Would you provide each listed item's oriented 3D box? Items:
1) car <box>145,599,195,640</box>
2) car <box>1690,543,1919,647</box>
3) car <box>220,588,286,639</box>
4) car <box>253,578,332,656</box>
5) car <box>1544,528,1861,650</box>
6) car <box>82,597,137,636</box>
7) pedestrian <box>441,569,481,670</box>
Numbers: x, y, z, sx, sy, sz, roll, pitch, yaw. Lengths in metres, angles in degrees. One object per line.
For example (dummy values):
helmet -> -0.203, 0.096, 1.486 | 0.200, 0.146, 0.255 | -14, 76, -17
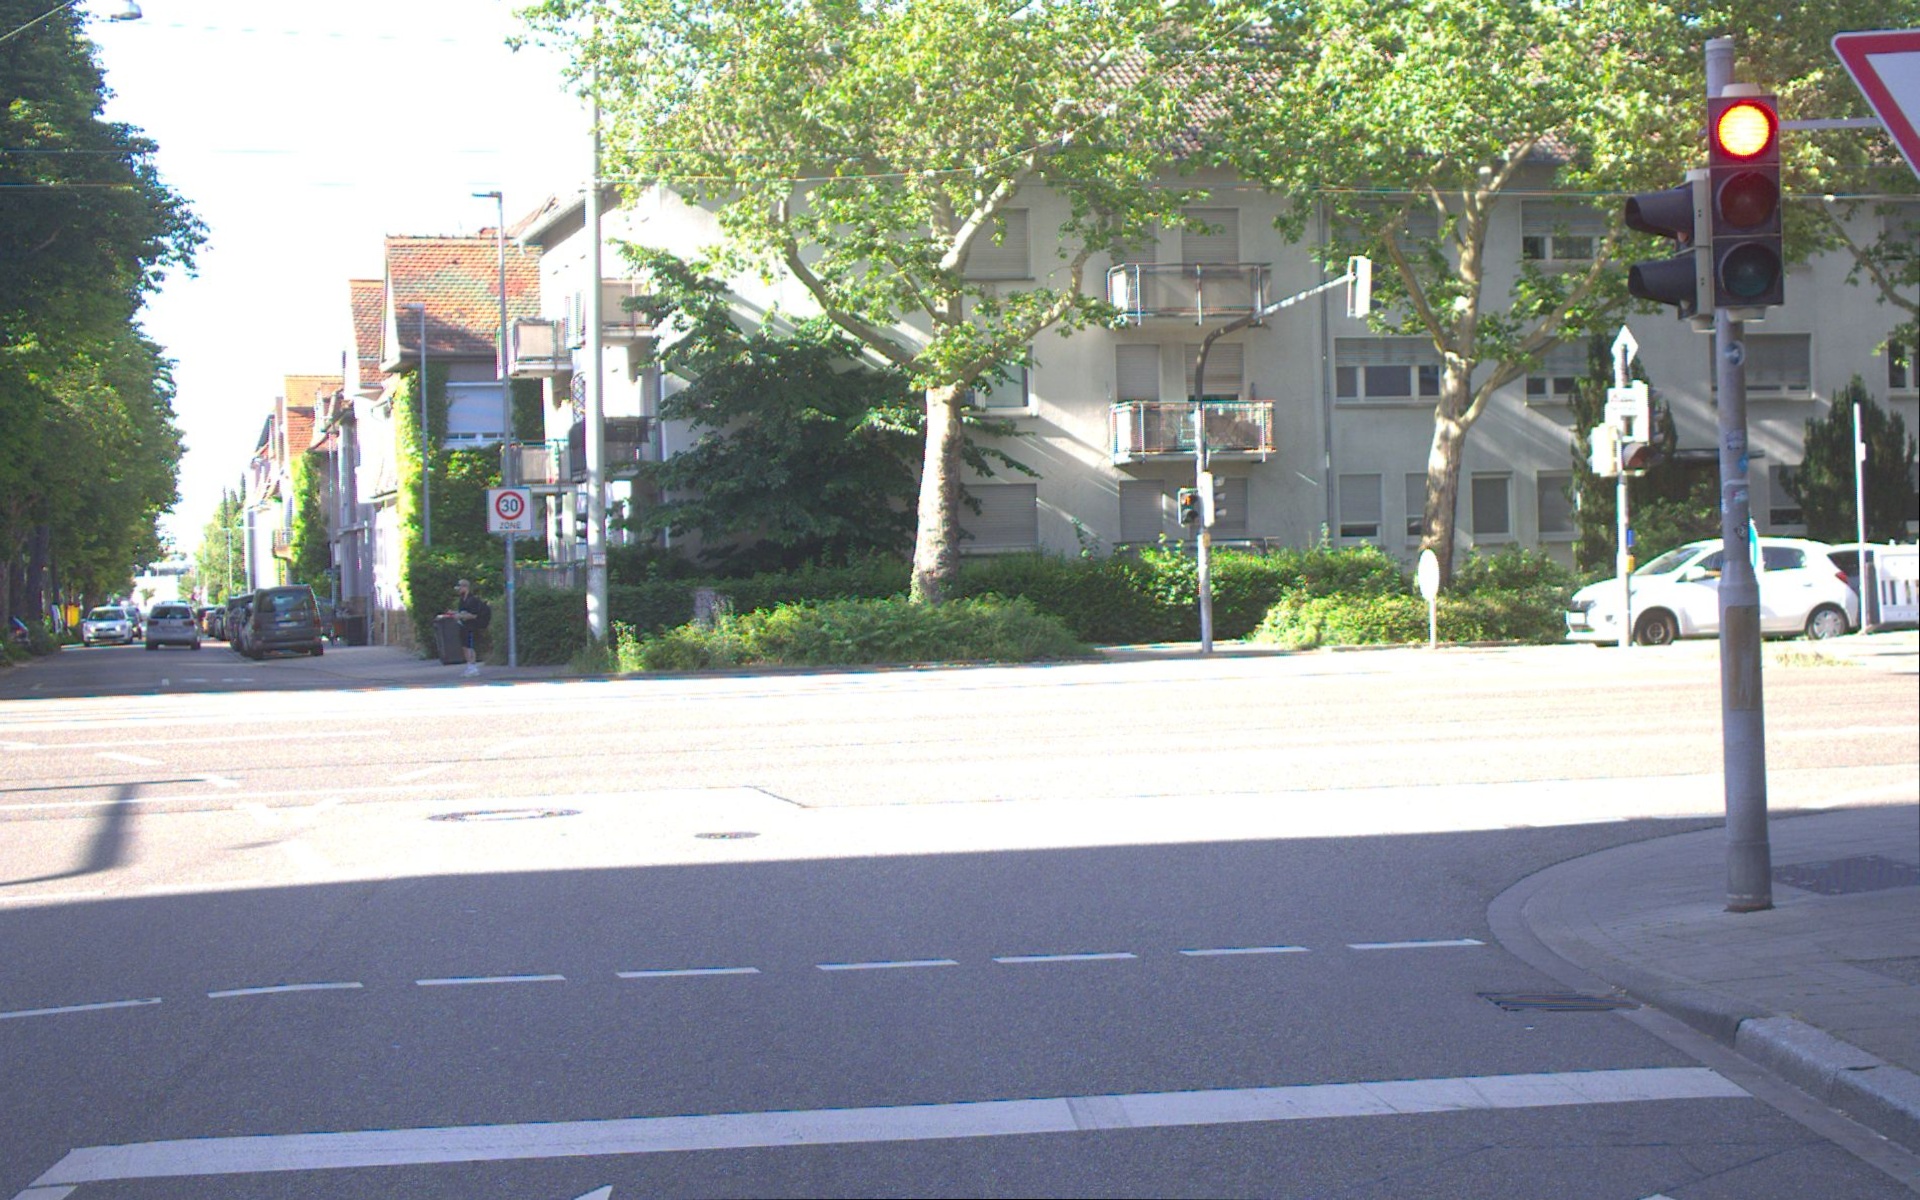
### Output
car -> -29.158, 0.695, 126.770 | 1.673, 1.477, 3.523 | -1, 0, -15
car -> 13.250, -0.094, 53.543 | 3.379, 1.482, 1.525 | -2, 1, -22
car -> -25.842, 0.489, 125.585 | 1.993, 1.826, 4.001 | -1, 0, -16
car -> -18.337, 0.444, 94.550 | 1.993, 2.007, 4.001 | -2, 1, -10
car -> 9.956, -0.160, 46.174 | 3.786, 1.467, 1.630 | -2, 1, -12
car -> -33.748, 0.649, 136.379 | 1.993, 1.441, 4.001 | -2, 1, -15
pedestrian -> -8.754, 0.341, 60.368 | 0.633, 1.744, 0.659 | -1, 0, -4
